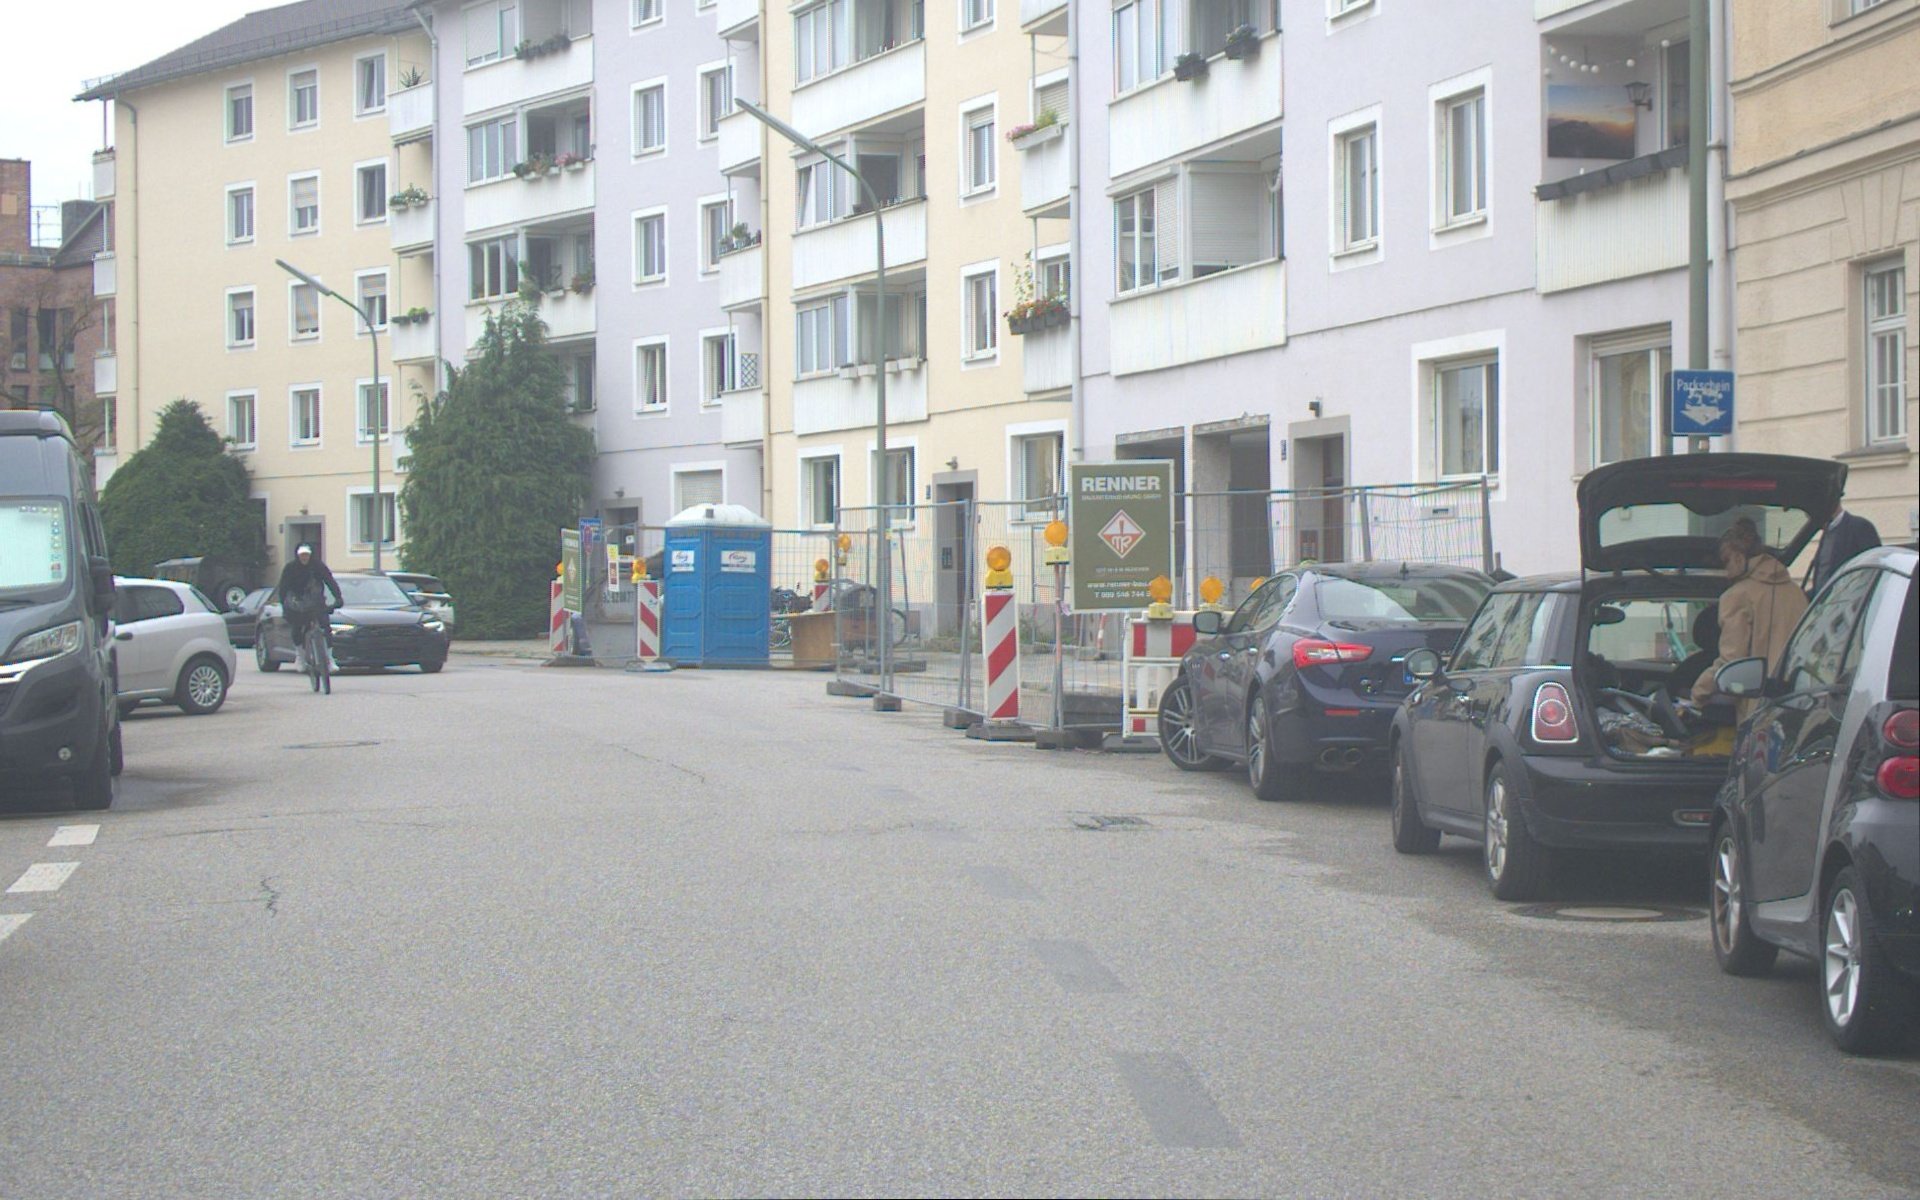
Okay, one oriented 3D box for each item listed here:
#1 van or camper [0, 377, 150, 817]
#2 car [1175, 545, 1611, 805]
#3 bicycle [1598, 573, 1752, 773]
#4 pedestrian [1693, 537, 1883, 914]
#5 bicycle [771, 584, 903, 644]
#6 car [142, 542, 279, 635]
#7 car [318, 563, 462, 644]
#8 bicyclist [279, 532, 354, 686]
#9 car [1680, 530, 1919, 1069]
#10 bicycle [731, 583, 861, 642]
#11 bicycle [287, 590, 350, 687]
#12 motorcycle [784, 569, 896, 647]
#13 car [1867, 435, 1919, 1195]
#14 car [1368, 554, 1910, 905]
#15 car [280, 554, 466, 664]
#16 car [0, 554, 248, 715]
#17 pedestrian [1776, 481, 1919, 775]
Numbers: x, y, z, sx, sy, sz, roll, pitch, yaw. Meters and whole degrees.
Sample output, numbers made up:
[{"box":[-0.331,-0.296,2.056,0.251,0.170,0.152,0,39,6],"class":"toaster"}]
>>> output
[{"box":[-6.718,-0.089,22.957,2.296,2.572,6.087,0,1,-11],"class":"van or camper"},{"box":[2.662,0.400,22.359,1.908,1.472,4.947,1,1,-4],"class":"car"},{"box":[4.643,0.453,22.412,0.636,1.254,1.671,0,0,-1],"class":"bicycle"},{"box":[3.419,0.506,14.233,0.628,1.523,0.578,0,1,0],"class":"pedestrian"},{"box":[-2.241,0.249,62.741,2.232,1.066,0.920,0,0,-23],"class":"bicycle"},{"box":[-16.690,-0.260,76.465,1.781,1.970,3.720,-3,1,-32],"class":"car"},{"box":[-11.411,0.044,68.641,1.830,1.568,4.001,0,0,-25],"class":"car"},{"box":[-7.614,0.100,40.662,0.744,1.765,0.815,-3,2,-13],"class":"bicyclist"},{"box":[3.426,0.555,11.372,1.514,1.549,3.019,1,1,2],"class":"car"},{"box":[-3.057,0.226,64.053,2.232,1.066,0.920,0,0,-23],"class":"bicycle"},{"box":[-7.592,0.439,40.648,0.585,1.066,1.937,-3,1,-14],"class":"bicycle"},{"box":[-1.918,0.112,54.712,0.931,1.217,2.508,0,1,-23],"class":"motorcycle"},{"box":[3.255,0.538,5.768,2.170,1.733,5.024,1,1,1],"class":"car"},{"box":[3.013,0.509,15.985,1.630,1.412,3.680,1,1,-2],"class":"car"},{"box":[-8.466,0.129,49.238,1.919,1.407,4.705,-3,1,-18],"class":"car"},{"box":[-9.459,0.360,35.501,1.713,1.502,3.801,-2,1,41],"class":"car"},{"box":[5.335,0.158,20.533,0.617,1.684,0.919,-3,0,1],"class":"pedestrian"}]
